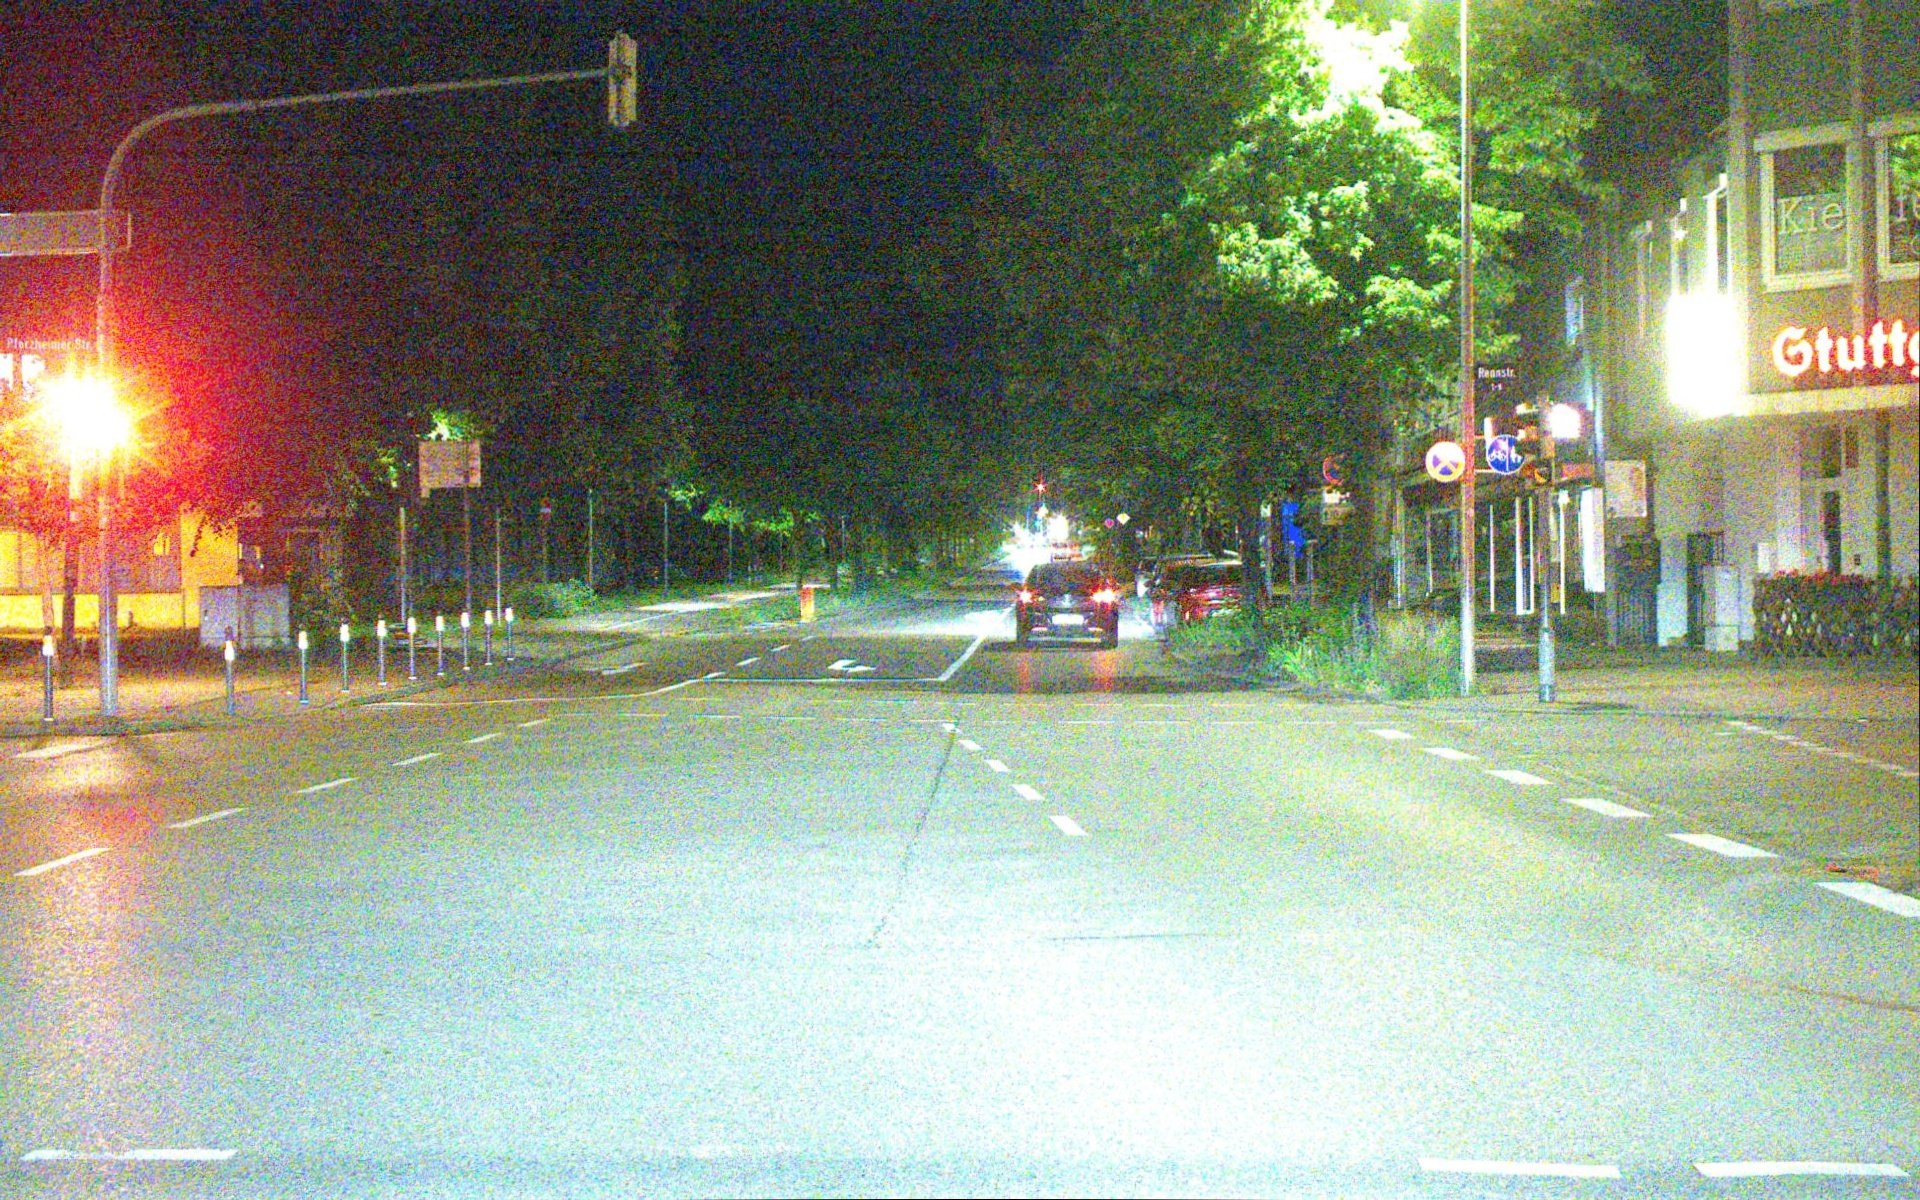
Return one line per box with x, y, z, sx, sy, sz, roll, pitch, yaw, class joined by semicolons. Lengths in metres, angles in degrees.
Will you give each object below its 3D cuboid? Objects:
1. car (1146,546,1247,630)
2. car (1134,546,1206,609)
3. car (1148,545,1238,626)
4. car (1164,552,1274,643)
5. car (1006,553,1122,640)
4.705;-0.257;68.794;1.876;1.610;4.000;0;1;2;car
5.743;-0.624;94.502;1.876;1.678;4.000;0;1;2;car
5.164;-0.337;76.464;1.876;1.723;4.000;0;1;2;car
4.748;-0.060;63.487;1.876;1.610;4.000;0;1;2;car
1.888;-0.079;60.978;1.874;1.449;4.316;1;1;4;car
